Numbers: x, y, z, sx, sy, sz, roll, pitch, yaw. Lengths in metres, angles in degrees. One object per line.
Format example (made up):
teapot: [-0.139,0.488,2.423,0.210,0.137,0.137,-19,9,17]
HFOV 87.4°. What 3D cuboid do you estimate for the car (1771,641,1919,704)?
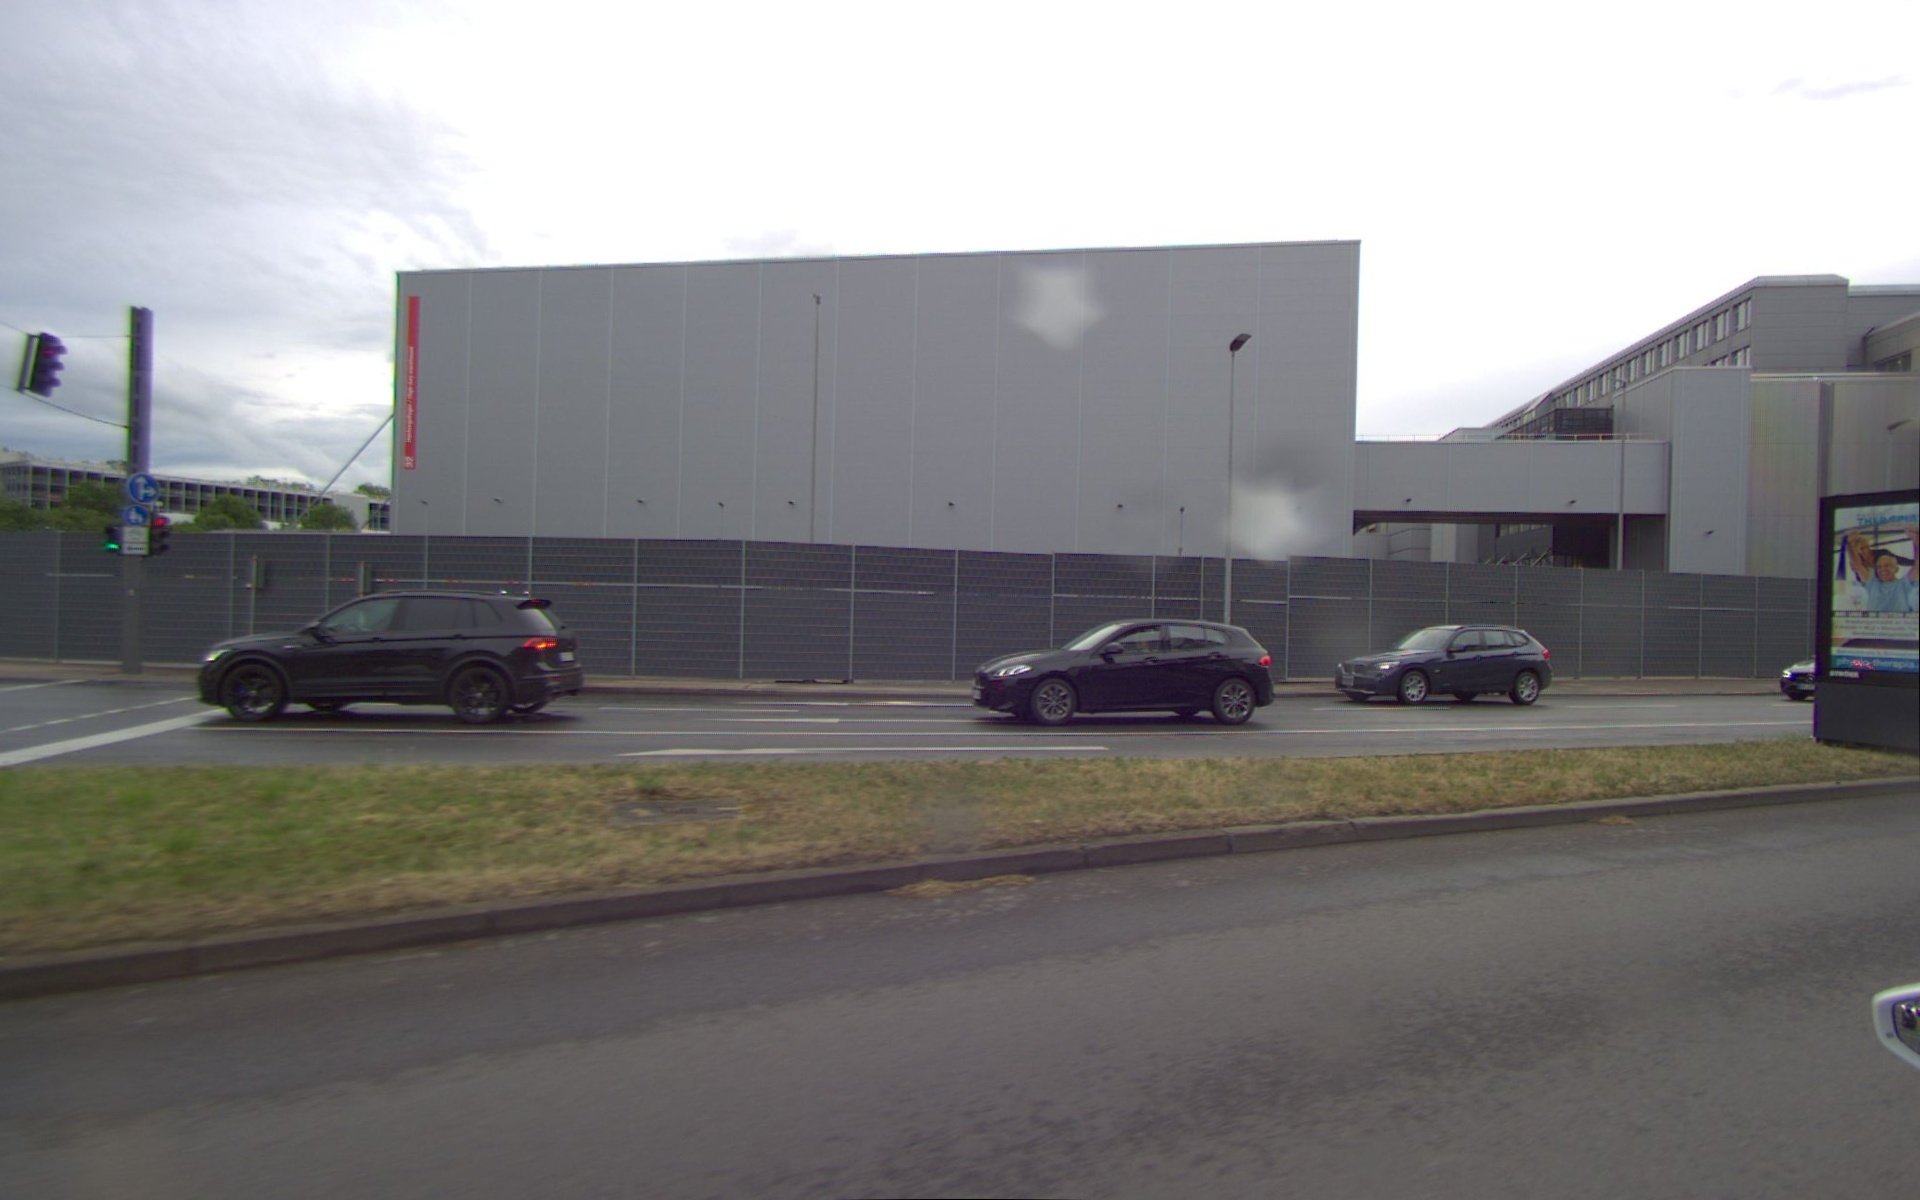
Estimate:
car: [21.781,1.692,23.933,4.477,1.403,1.781,1,-3,-21]

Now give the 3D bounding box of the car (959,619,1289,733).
car: [2.293,1.052,14.413,4.319,1.459,1.784,1,-1,-13]

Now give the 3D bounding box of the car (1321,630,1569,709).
car: [9.736,1.372,20.214,4.487,1.473,1.783,1,-2,-17]

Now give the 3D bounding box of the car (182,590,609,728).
car: [-7.136,0.744,13.122,4.480,1.609,1.787,1,-1,-5]
